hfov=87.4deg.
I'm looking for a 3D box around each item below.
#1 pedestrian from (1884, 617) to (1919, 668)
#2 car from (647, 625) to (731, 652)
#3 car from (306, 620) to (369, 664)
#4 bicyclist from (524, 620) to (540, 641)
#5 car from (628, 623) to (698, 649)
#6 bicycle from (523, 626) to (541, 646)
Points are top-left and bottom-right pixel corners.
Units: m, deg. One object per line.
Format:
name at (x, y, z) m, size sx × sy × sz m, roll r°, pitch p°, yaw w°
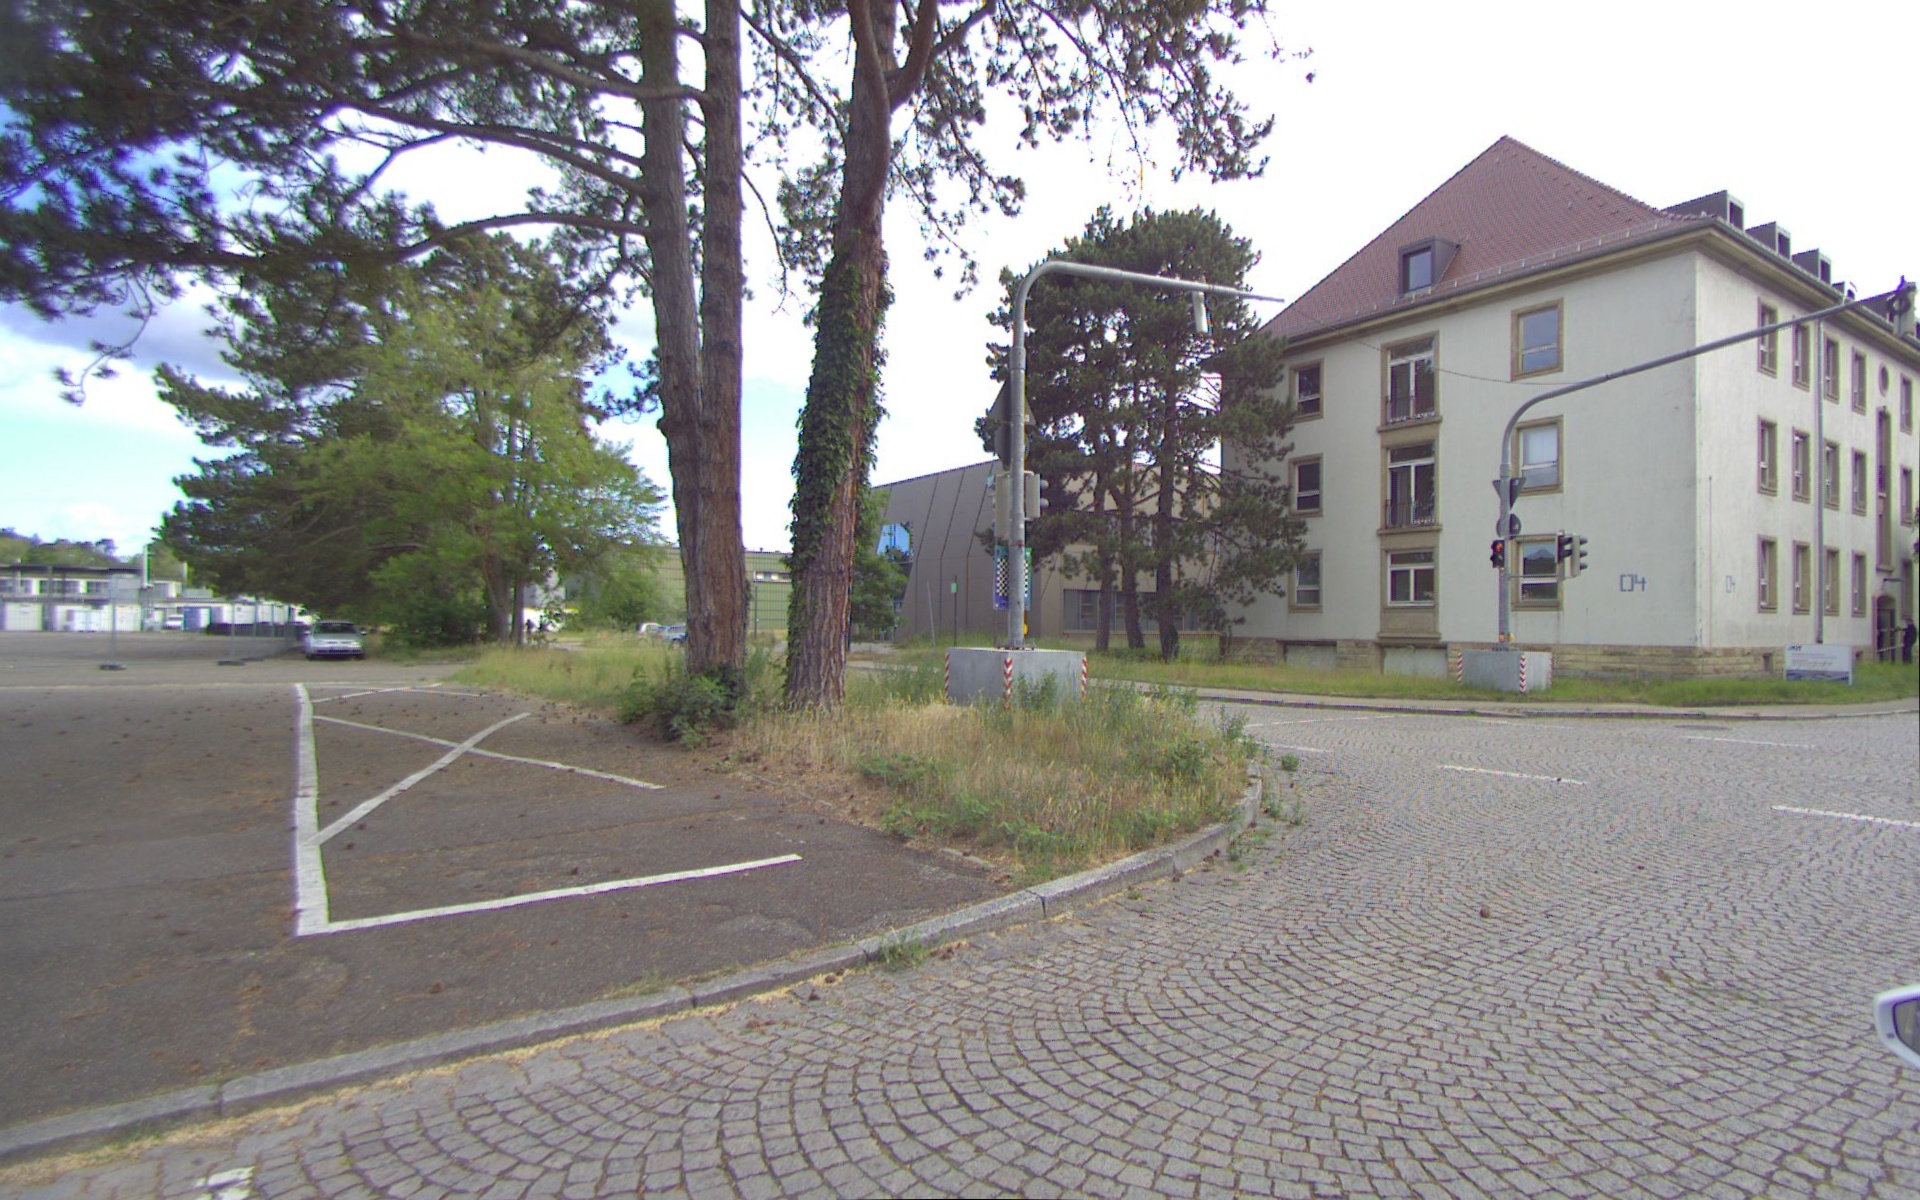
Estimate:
pedestrian at (34.212, 1.527, 36.393) m, size 0.929 × 1.804 × 0.834 m, roll 1°, pitch -1°, yaw -29°
car at (-16.078, 2.261, 59.681) m, size 4.453 × 1.482 × 1.914 m, roll -1°, pitch -1°, yaw -37°
car at (-22.989, 1.518, 37.051) m, size 1.718 × 1.451 × 4.120 m, roll 2°, pitch -1°, yaw -35°
bicyclist at (-31.433, 2.248, 73.763) m, size 0.892 × 1.562 × 0.859 m, roll 2°, pitch -1°, yaw -36°
car at (-19.593, 2.335, 66.229) m, size 4.082 × 1.593 × 1.746 m, roll -1°, pitch 0°, yaw -37°
bicycle at (-31.443, 2.642, 73.783) m, size 0.818 × 1.395 × 2.022 m, roll 2°, pitch -1°, yaw -35°
